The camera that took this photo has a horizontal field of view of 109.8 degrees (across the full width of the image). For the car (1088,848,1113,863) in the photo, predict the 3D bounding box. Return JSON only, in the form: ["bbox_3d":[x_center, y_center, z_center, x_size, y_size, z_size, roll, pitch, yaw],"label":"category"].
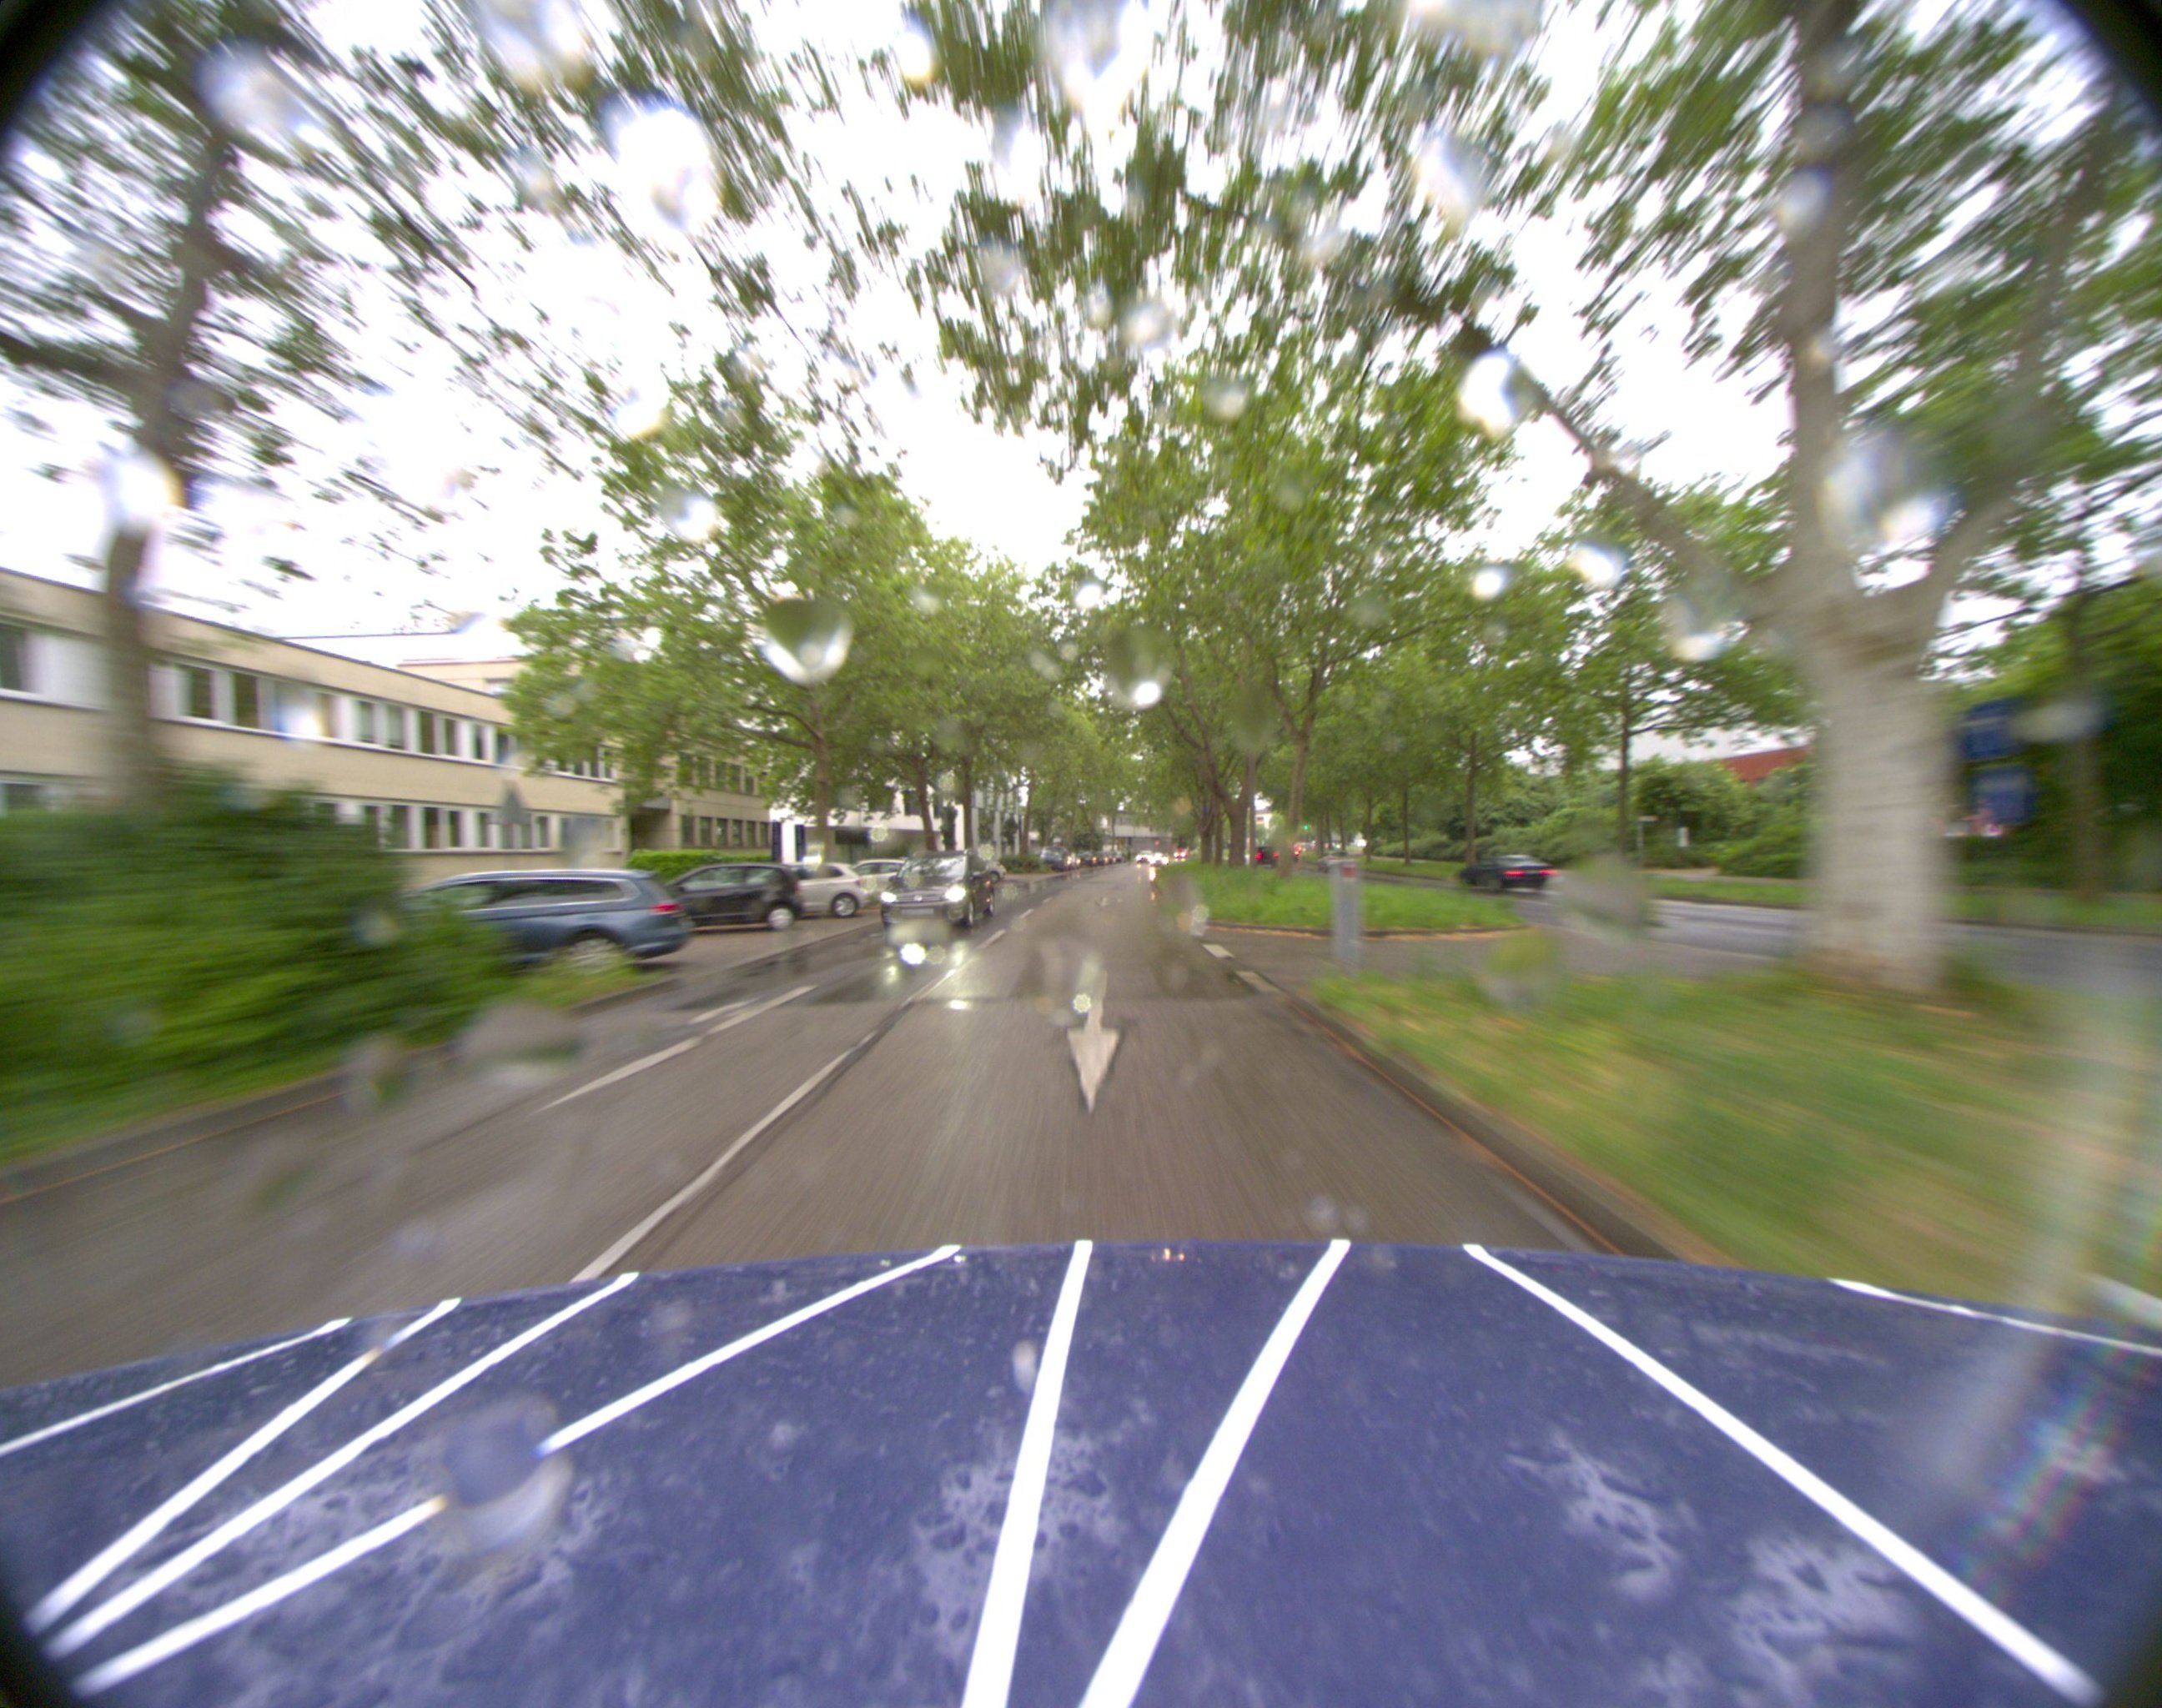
[{"bbox_3d":[2.076,0.185,80.097,1.746,1.468,4.086,-1,1,13],"label":"car"}]

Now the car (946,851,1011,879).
[{"bbox_3d":[-5.899,0.623,43.785,3.647,1.496,1.748,-1,0,-9],"label":"car"}]

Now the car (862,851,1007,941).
[{"bbox_3d":[-3.091,0.800,17.376,1.998,1.585,5.589,-2,1,2],"label":"car"}]

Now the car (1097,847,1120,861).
[{"bbox_3d":[3.161,-0.048,86.193,1.746,1.420,5.107,-1,1,12],"label":"car"}]

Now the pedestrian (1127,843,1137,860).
[{"bbox_3d":[6.272,-0.316,93.908,0.901,2.002,0.831,-2,1,-23],"label":"pedestrian"}]

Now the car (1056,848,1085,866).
[{"bbox_3d":[-0.893,0.250,66.855,1.746,1.461,4.308,-1,1,10],"label":"car"}]

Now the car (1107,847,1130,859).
[{"bbox_3d":[4.634,-0.163,92.587,1.745,1.420,4.864,1,2,16],"label":"car"}]

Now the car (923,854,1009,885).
[{"bbox_3d":[-5.921,0.753,39.293,4.043,1.420,1.745,-2,1,-25],"label":"car"}]

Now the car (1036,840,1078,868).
[{"bbox_3d":[-1.848,-0.044,60.712,2.125,2.016,5.531,-1,1,10],"label":"car"}]

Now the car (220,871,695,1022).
[{"bbox_3d":[-7.698,1.053,10.047,4.501,1.450,1.745,-2,1,-24],"label":"car"}]

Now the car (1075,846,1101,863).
[{"bbox_3d":[0.664,0.003,73.284,1.746,1.557,4.374,-1,1,10],"label":"car"}]

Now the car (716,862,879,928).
[{"bbox_3d":[-7.197,0.979,19.340,3.697,1.408,1.772,-2,1,-25],"label":"car"}]

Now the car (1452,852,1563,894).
[{"bbox_3d":[15.883,0.690,28.588,1.747,1.430,4.445,-1,-1,1],"label":"car"}]

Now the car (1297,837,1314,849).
[{"bbox_3d":[44.274,-2.250,149.756,2.031,2.213,5.444,-1,1,31],"label":"car"}]

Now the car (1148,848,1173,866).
[{"bbox_3d":[8.031,0.244,76.653,1.997,1.620,4.525,-2,1,12],"label":"car"}]

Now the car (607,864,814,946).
[{"bbox_3d":[-7.722,1.000,16.095,3.697,1.408,1.745,-2,1,-25],"label":"car"}]

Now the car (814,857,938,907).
[{"bbox_3d":[-6.702,0.875,24.816,3.696,1.408,1.746,-2,1,-21],"label":"car"}]

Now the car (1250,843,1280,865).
[{"bbox_3d":[16.047,-0.063,66.398,1.747,1.831,5.121,-1,1,5],"label":"car"}]

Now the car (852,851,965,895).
[{"bbox_3d":[-6.816,0.716,30.100,4.043,1.530,1.745,-2,1,-26],"label":"car"}]

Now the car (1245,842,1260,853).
[{"bbox_3d":[25.523,-0.946,113.106,1.746,1.582,4.332,-1,1,9],"label":"car"}]

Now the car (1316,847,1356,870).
[{"bbox_3d":[17.965,0.300,53.734,1.747,1.468,4.236,-1,1,5],"label":"car"}]
